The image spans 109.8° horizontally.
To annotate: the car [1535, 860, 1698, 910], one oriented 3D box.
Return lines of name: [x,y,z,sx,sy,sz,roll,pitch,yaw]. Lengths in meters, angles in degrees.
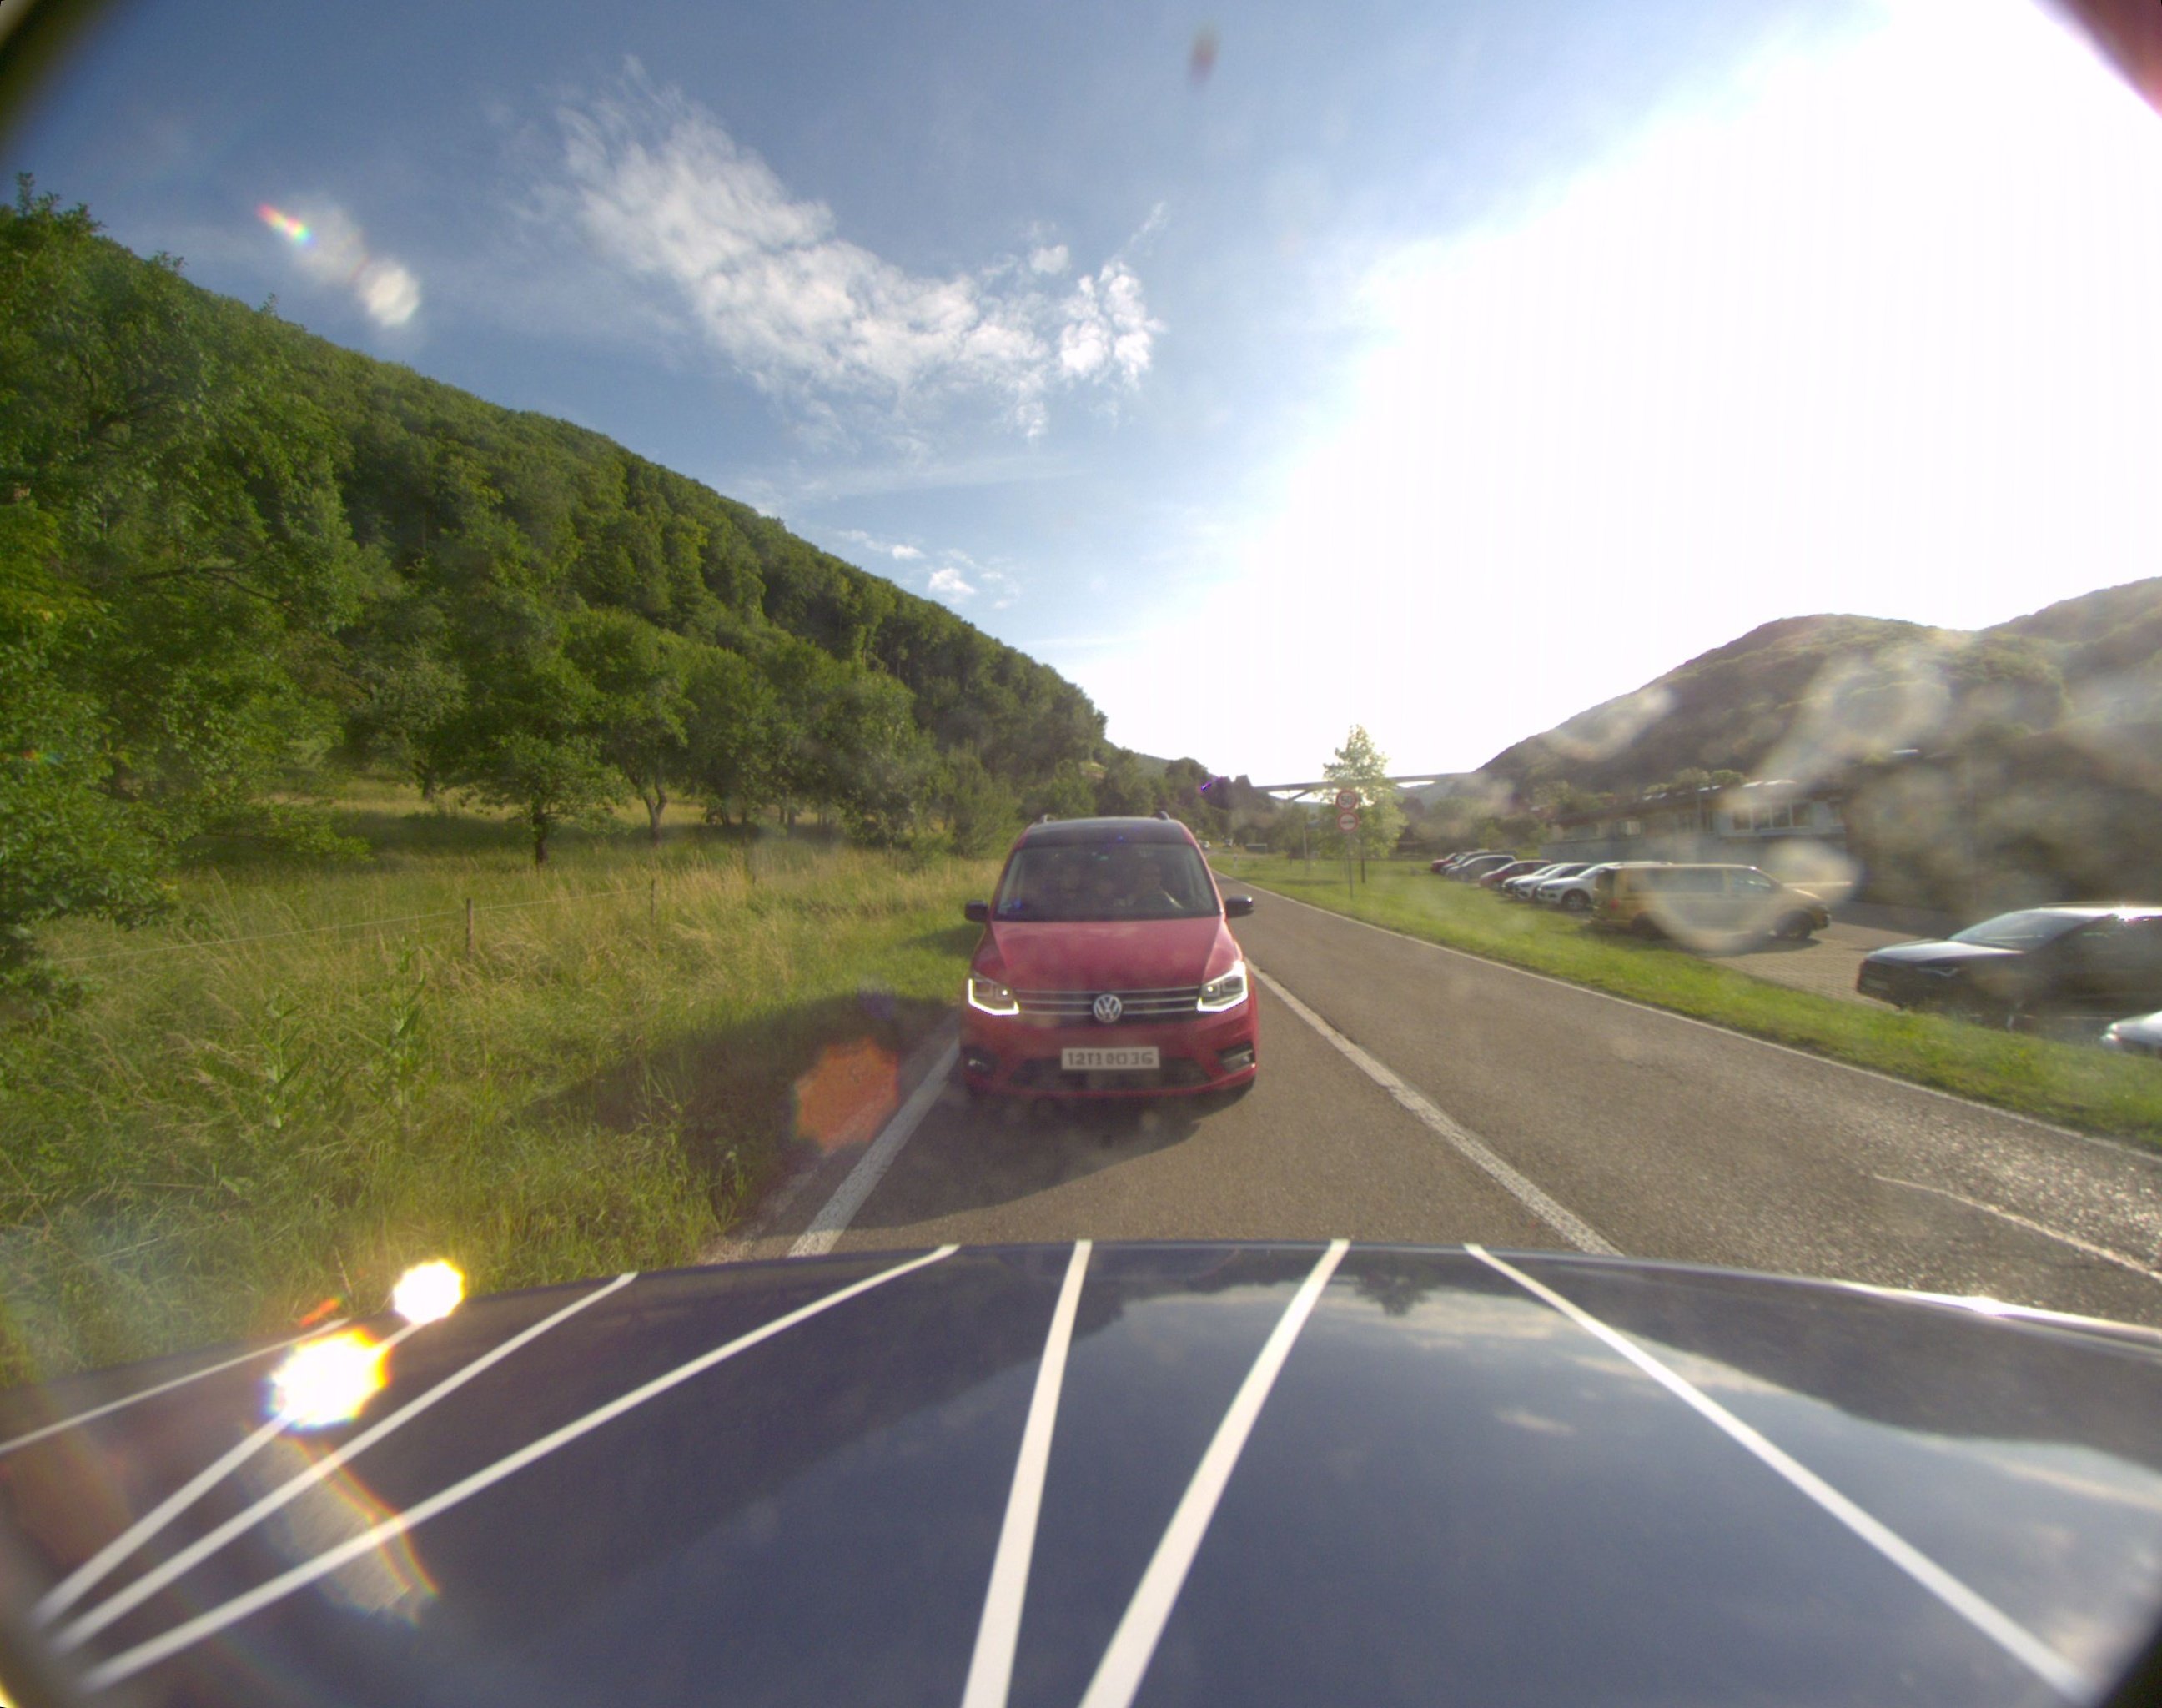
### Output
car: [19.492,1.110,27.932,4.544,1.691,2.003,-1,1,20]

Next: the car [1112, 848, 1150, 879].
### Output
car: [2.561,0.455,39.101,1.798,1.464,4.284,-2,0,3]

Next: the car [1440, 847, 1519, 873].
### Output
car: [27.920,0.439,53.413,4.665,1.753,2.003,-1,1,19]

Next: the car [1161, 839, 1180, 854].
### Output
car: [10.902,-0.915,92.145,1.797,1.725,4.287,-2,0,13]

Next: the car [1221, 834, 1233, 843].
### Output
car: [31.693,-3.379,164.966,1.908,1.893,4.004,-1,2,19]

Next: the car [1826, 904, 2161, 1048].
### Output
car: [13.583,1.623,10.487,4.289,1.628,1.915,-3,0,15]

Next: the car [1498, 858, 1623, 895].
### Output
car: [21.615,1.006,34.471,4.437,1.574,2.003,-1,1,18]

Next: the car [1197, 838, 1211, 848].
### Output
car: [22.010,-2.019,135.880,1.996,1.707,4.004,-2,0,14]

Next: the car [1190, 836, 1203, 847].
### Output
car: [18.608,-2.010,122.684,1.677,1.637,3.350,-2,-1,15]

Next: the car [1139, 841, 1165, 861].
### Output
car: [6.326,-0.230,67.100,1.911,1.675,4.003,-2,0,11]

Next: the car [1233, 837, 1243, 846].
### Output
car: [36.451,-2.925,176.608,1.909,1.893,4.004,-2,2,16]

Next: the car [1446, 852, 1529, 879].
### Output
car: [26.097,0.739,48.965,4.437,1.573,2.003,-2,0,19]

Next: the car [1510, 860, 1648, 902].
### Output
car: [20.387,1.082,31.324,4.437,1.577,2.003,-1,1,20]

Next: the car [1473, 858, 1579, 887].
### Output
car: [22.937,0.946,39.338,4.437,1.443,2.003,-1,1,20]

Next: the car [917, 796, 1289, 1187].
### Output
car: [0.148,0.670,5.853,1.747,1.849,4.348,-2,0,1]

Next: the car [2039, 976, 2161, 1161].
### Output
car: [12.065,2.003,6.450,4.645,1.488,1.915,-1,1,16]

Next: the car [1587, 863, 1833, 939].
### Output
car: [16.431,1.185,20.189,4.652,1.802,2.003,-1,1,20]

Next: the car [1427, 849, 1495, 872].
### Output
car: [29.240,0.488,58.579,4.437,1.710,2.003,-1,1,19]
